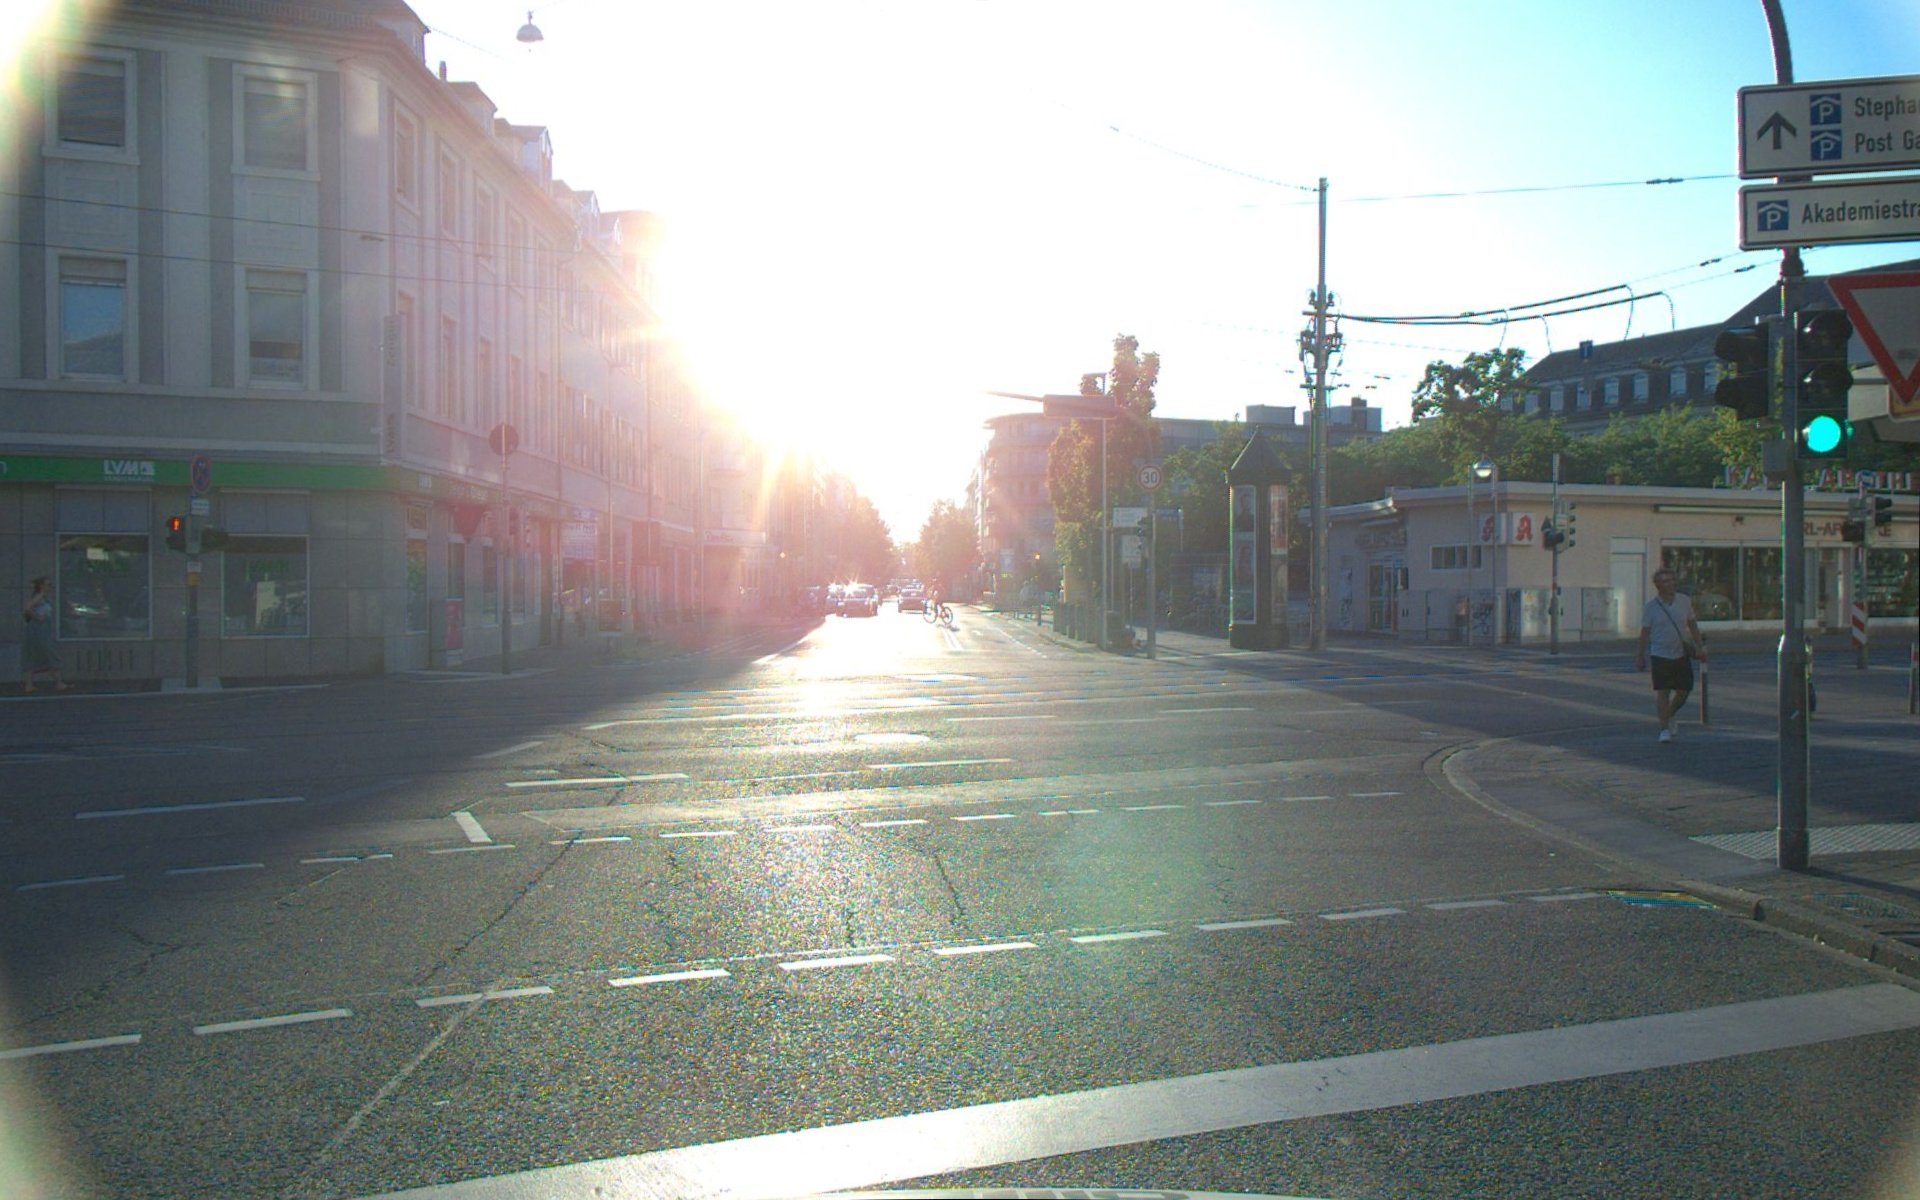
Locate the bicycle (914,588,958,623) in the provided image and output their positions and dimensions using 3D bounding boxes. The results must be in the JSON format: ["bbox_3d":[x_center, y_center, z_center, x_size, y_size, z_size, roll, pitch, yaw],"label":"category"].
[{"bbox_3d":[-1.016,0.219,69.515,0.674,1.426,2.200,-1,0,-37],"label":"bicycle"}]

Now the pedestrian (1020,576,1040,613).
[{"bbox_3d":[3.447,-0.265,81.123,0.787,1.817,0.995,-2,-1,12],"label":"pedestrian"}]

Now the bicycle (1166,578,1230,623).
[{"bbox_3d":[8.313,0.026,57.845,2.176,1.549,0.681,-1,0,3],"label":"bicycle"}]

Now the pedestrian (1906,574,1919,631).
[{"bbox_3d":[28.367,0.061,48.337,0.979,1.640,0.800,-2,-1,-26],"label":"pedestrian"}]

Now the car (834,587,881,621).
[{"bbox_3d":[-5.377,0.202,87.623,2.257,1.707,5.531,-1,0,-1],"label":"car"}]

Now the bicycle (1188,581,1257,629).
[{"bbox_3d":[8.670,0.159,54.712,2.177,1.549,0.681,-1,0,-1],"label":"bicycle"}]

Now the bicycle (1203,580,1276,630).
[{"bbox_3d":[8.850,0.141,52.337,2.177,1.549,0.681,-1,0,-1],"label":"bicycle"}]

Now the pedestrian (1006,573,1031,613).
[{"bbox_3d":[2.931,-0.333,82.890,0.971,1.991,0.806,-1,0,25],"label":"pedestrian"}]

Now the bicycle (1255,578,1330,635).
[{"bbox_3d":[9.074,0.171,45.208,1.945,1.549,0.479,-1,0,-2],"label":"bicycle"}]

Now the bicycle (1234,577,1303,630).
[{"bbox_3d":[9.067,0.100,48.659,1.945,1.549,0.479,-1,0,-1],"label":"bicycle"}]

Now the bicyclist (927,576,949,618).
[{"bbox_3d":[-0.923,-0.112,69.381,0.674,1.737,0.660,-1,0,-38],"label":"bicyclist"}]

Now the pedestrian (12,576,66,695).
[{"bbox_3d":[-14.298,0.537,25.696,0.637,1.809,0.667,-1,0,-24],"label":"pedestrian"}]

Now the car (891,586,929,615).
[{"bbox_3d":[-3.092,0.007,102.099,2.257,1.707,5.531,-1,0,-1],"label":"car"}]

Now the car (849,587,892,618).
[{"bbox_3d":[-5.115,0.092,95.224,2.257,1.707,5.531,-1,0,-1],"label":"car"}]

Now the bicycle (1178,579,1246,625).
[{"bbox_3d":[8.545,0.066,56.091,2.177,1.549,0.681,-1,0,-1],"label":"bicycle"}]

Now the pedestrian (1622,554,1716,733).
[{"bbox_3d":[7.239,0.438,16.868,0.788,1.756,0.993,-2,-1,26],"label":"pedestrian"}]
